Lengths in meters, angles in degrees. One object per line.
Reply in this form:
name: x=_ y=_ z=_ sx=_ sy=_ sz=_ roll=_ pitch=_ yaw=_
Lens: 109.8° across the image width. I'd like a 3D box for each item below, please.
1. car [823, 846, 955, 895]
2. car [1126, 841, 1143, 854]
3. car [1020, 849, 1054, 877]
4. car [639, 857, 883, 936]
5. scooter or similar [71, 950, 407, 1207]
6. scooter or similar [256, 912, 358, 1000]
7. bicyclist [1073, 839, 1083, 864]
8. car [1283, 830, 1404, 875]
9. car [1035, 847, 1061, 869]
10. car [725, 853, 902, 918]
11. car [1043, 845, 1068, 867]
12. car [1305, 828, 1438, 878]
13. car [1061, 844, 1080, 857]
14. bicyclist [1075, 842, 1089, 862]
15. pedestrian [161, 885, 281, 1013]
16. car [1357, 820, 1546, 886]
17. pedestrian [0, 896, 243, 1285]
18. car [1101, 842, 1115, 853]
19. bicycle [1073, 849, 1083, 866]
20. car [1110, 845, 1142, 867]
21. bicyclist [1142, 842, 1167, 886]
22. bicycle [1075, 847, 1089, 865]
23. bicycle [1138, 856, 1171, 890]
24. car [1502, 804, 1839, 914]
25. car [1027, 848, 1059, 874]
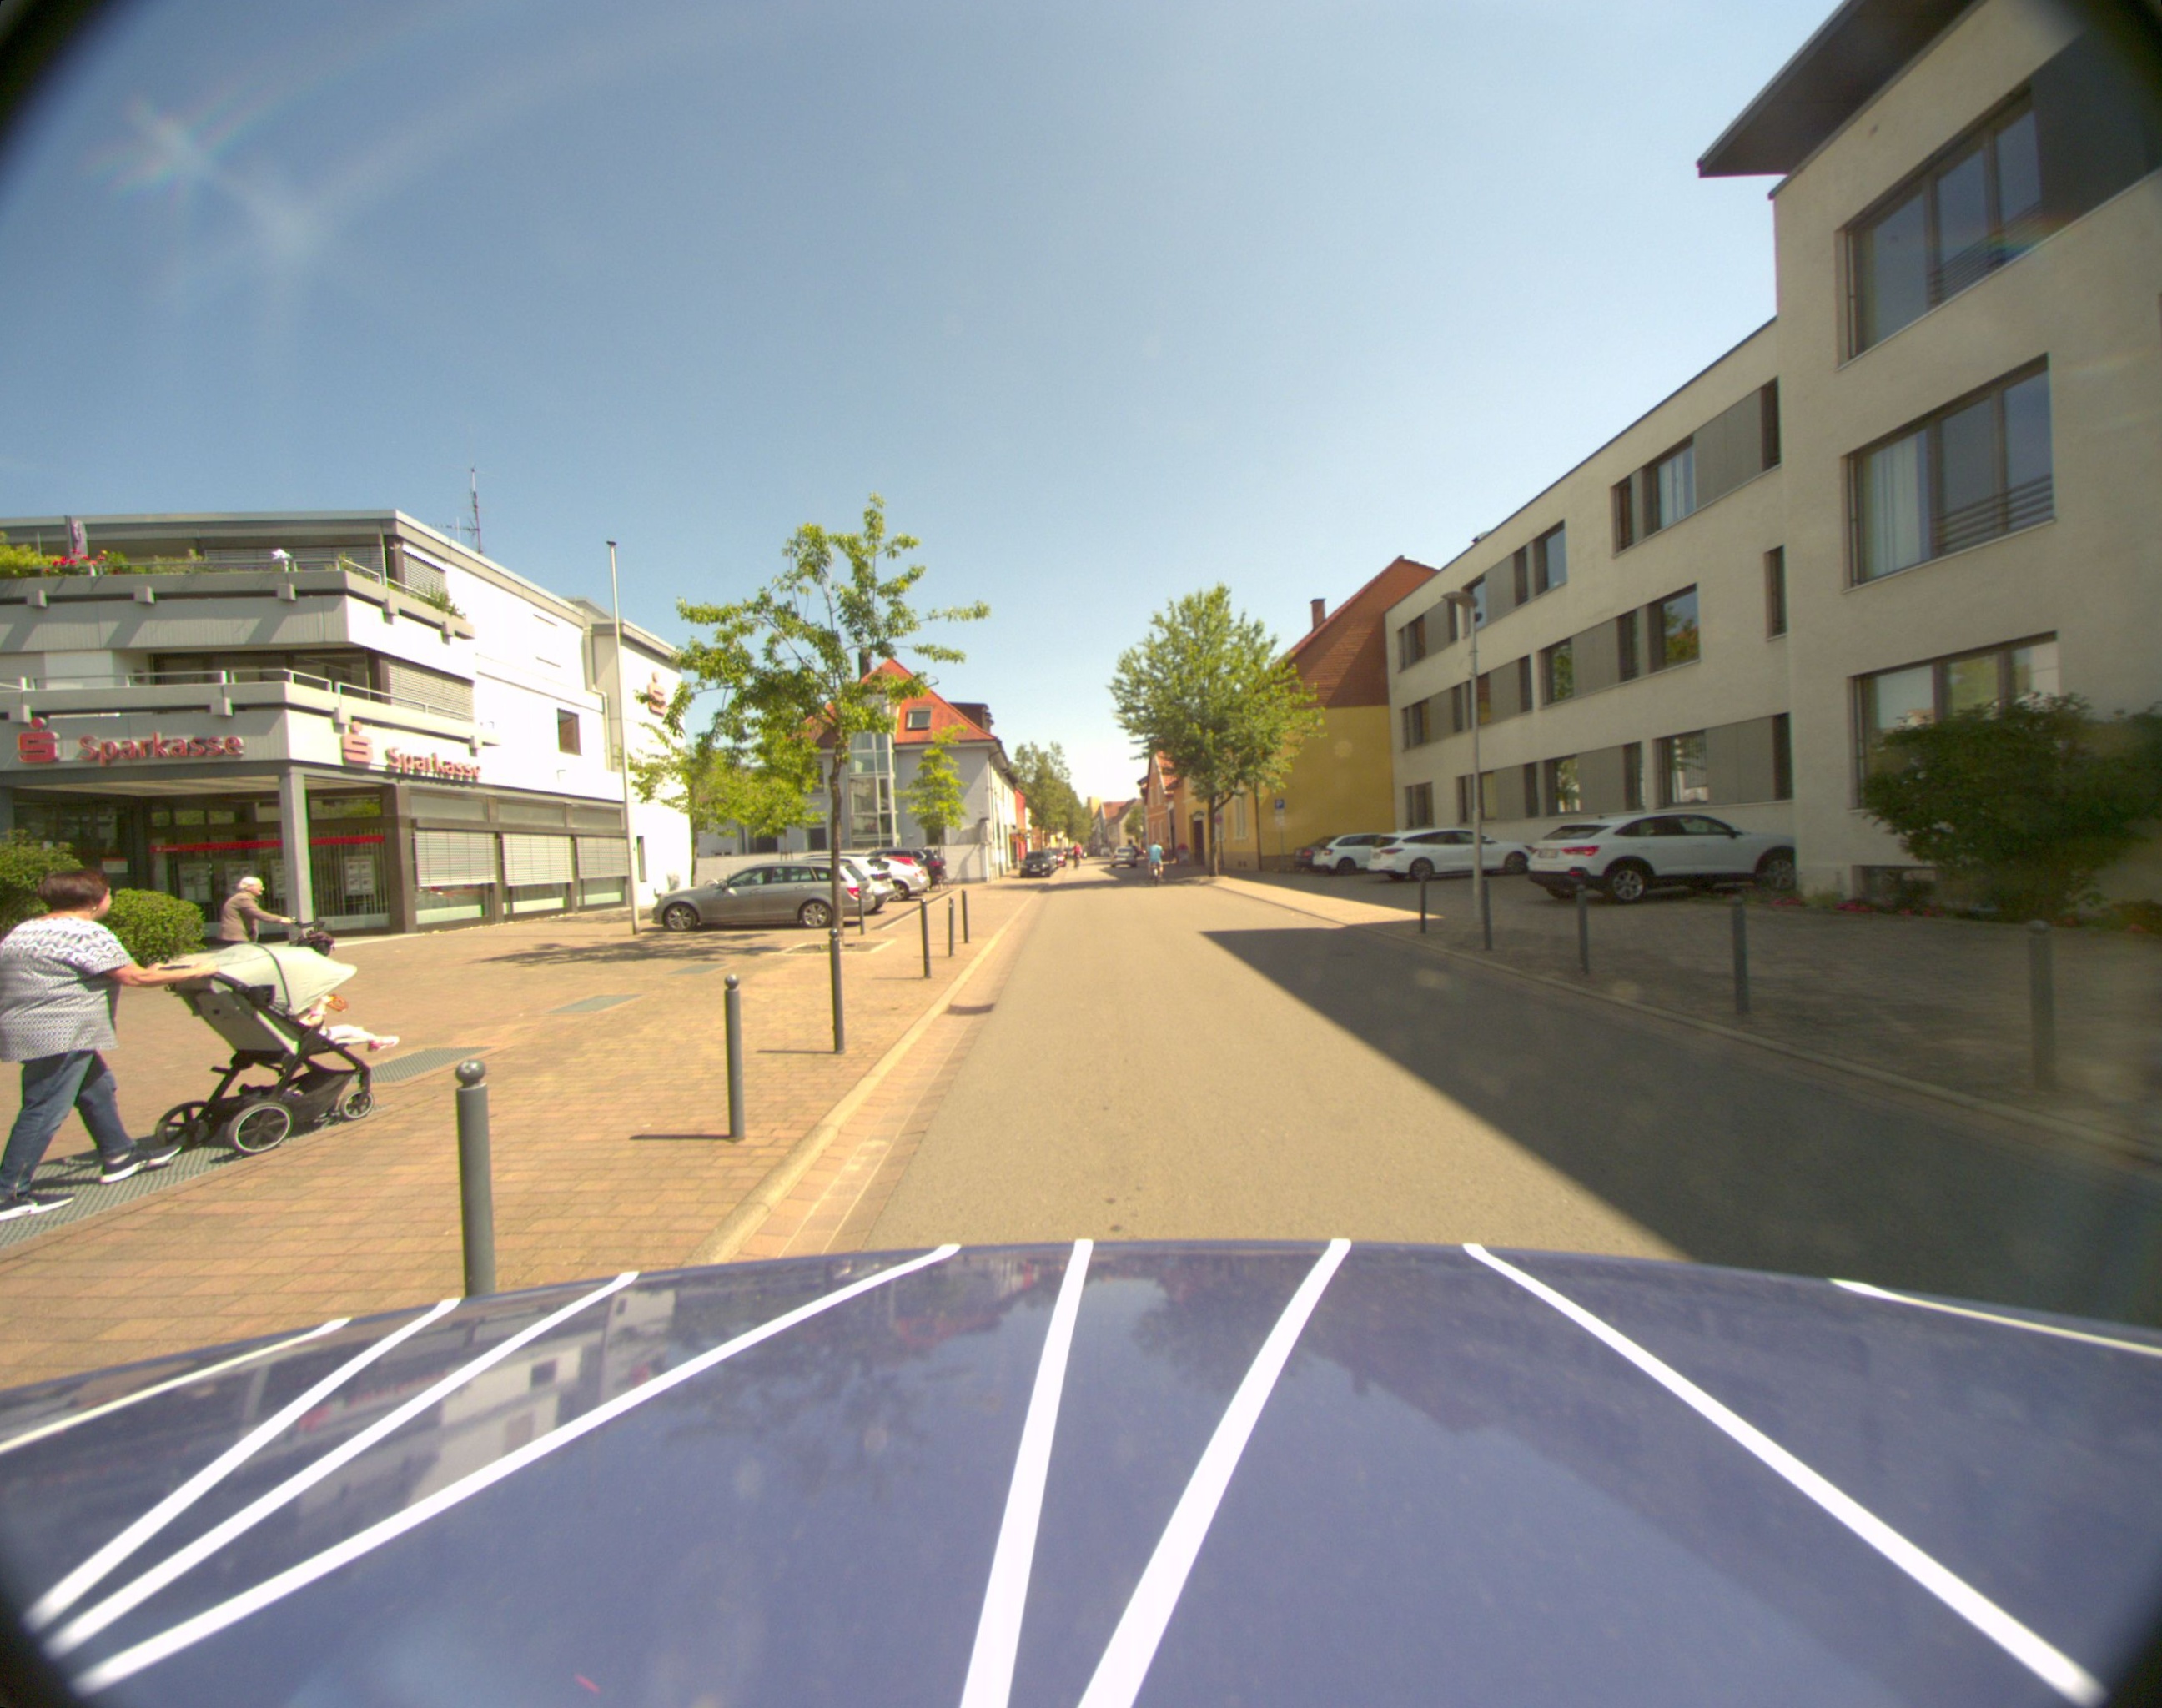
car: x=-7.468 y=0.612 z=29.909 sx=4.643 sy=1.761 sz=2.147 roll=-1 pitch=0 yaw=-3
car: x=7.060 y=-0.911 z=99.918 sx=1.863 sy=1.620 sz=4.048 roll=-3 pitch=1 yaw=7
car: x=-2.425 y=0.473 z=42.638 sx=1.708 sy=1.473 sz=3.920 roll=-1 pitch=1 yaw=-1
car: x=-6.926 y=0.890 z=16.882 sx=4.589 sy=1.504 sz=1.915 roll=-1 pitch=1 yaw=-6
scooter or similar: x=-4.598 y=1.173 z=4.253 sx=0.627 sy=1.100 sz=1.043 roll=-3 pitch=1 yaw=2
scooter or similar: x=-10.543 y=1.368 z=10.366 sx=0.589 sy=1.069 sz=0.806 roll=-2 pitch=1 yaw=30
bicyclist: x=-0.198 y=-0.188 z=53.608 sx=0.645 sy=1.766 sz=0.722 roll=-1 pitch=0 yaw=2
car: x=10.256 y=-0.052 z=29.887 sx=3.998 sy=1.423 sz=1.971 roll=-4 pitch=0 yaw=-4
car: x=-2.383 y=0.270 z=56.039 sx=1.741 sy=1.504 sz=3.735 roll=-2 pitch=0 yaw=-1
car: x=-6.872 y=0.784 z=19.855 sx=3.998 sy=1.564 sz=1.856 roll=1 pitch=1 yaw=-4
car: x=-2.138 y=0.148 z=62.163 sx=1.834 sy=1.579 sz=4.086 roll=-4 pitch=1 yaw=-3
car: x=10.373 y=-0.039 z=27.334 sx=3.997 sy=1.443 sz=1.807 roll=-4 pitch=0 yaw=0
car: x=-1.362 y=-0.496 z=100.266 sx=1.928 sy=1.594 sz=4.110 roll=-3 pitch=1 yaw=7
bicyclist: x=0.093 y=-0.186 z=62.854 sx=1.028 sy=1.635 sz=1.025 roll=-2 pitch=1 yaw=3
pedestrian: x=-10.937 y=1.179 z=9.679 sx=0.667 sy=1.488 sz=0.812 roll=-3 pitch=1 yaw=29
car: x=10.754 y=-0.044 z=22.285 sx=4.515 sy=1.545 sz=1.934 roll=-4 pitch=2 yaw=0
pedestrian: x=-4.661 y=0.989 z=3.451 sx=0.705 sy=1.512 sz=0.801 roll=-3 pitch=1 yaw=3
car: x=5.808 y=-1.339 z=162.882 sx=2.443 sy=2.224 sz=4.958 roll=-3 pitch=1 yaw=-3
bicycle: x=-0.185 y=0.250 z=53.599 sx=0.635 sy=1.227 sz=1.894 roll=-1 pitch=-1 yaw=2
car: x=3.112 y=0.109 z=53.744 sx=1.885 sy=1.455 sz=4.435 roll=-1 pitch=1 yaw=-1
bicyclist: x=2.603 y=0.352 z=26.798 sx=0.669 sy=1.518 sz=0.762 roll=-1 pitch=1 yaw=20
bicycle: x=0.100 y=0.168 z=62.668 sx=0.959 sy=1.363 sz=2.406 roll=-2 pitch=1 yaw=4
bicycle: x=2.595 y=0.647 z=26.785 sx=0.674 sy=1.103 sz=1.898 roll=-1 pitch=1 yaw=21
car: x=10.640 y=0.066 z=13.988 sx=4.518 sy=1.545 sz=2.147 roll=-4 pitch=1 yaw=-2
car: x=-2.377 y=0.421 z=48.209 sx=1.721 sy=1.473 sz=4.095 roll=-2 pitch=1 yaw=1
